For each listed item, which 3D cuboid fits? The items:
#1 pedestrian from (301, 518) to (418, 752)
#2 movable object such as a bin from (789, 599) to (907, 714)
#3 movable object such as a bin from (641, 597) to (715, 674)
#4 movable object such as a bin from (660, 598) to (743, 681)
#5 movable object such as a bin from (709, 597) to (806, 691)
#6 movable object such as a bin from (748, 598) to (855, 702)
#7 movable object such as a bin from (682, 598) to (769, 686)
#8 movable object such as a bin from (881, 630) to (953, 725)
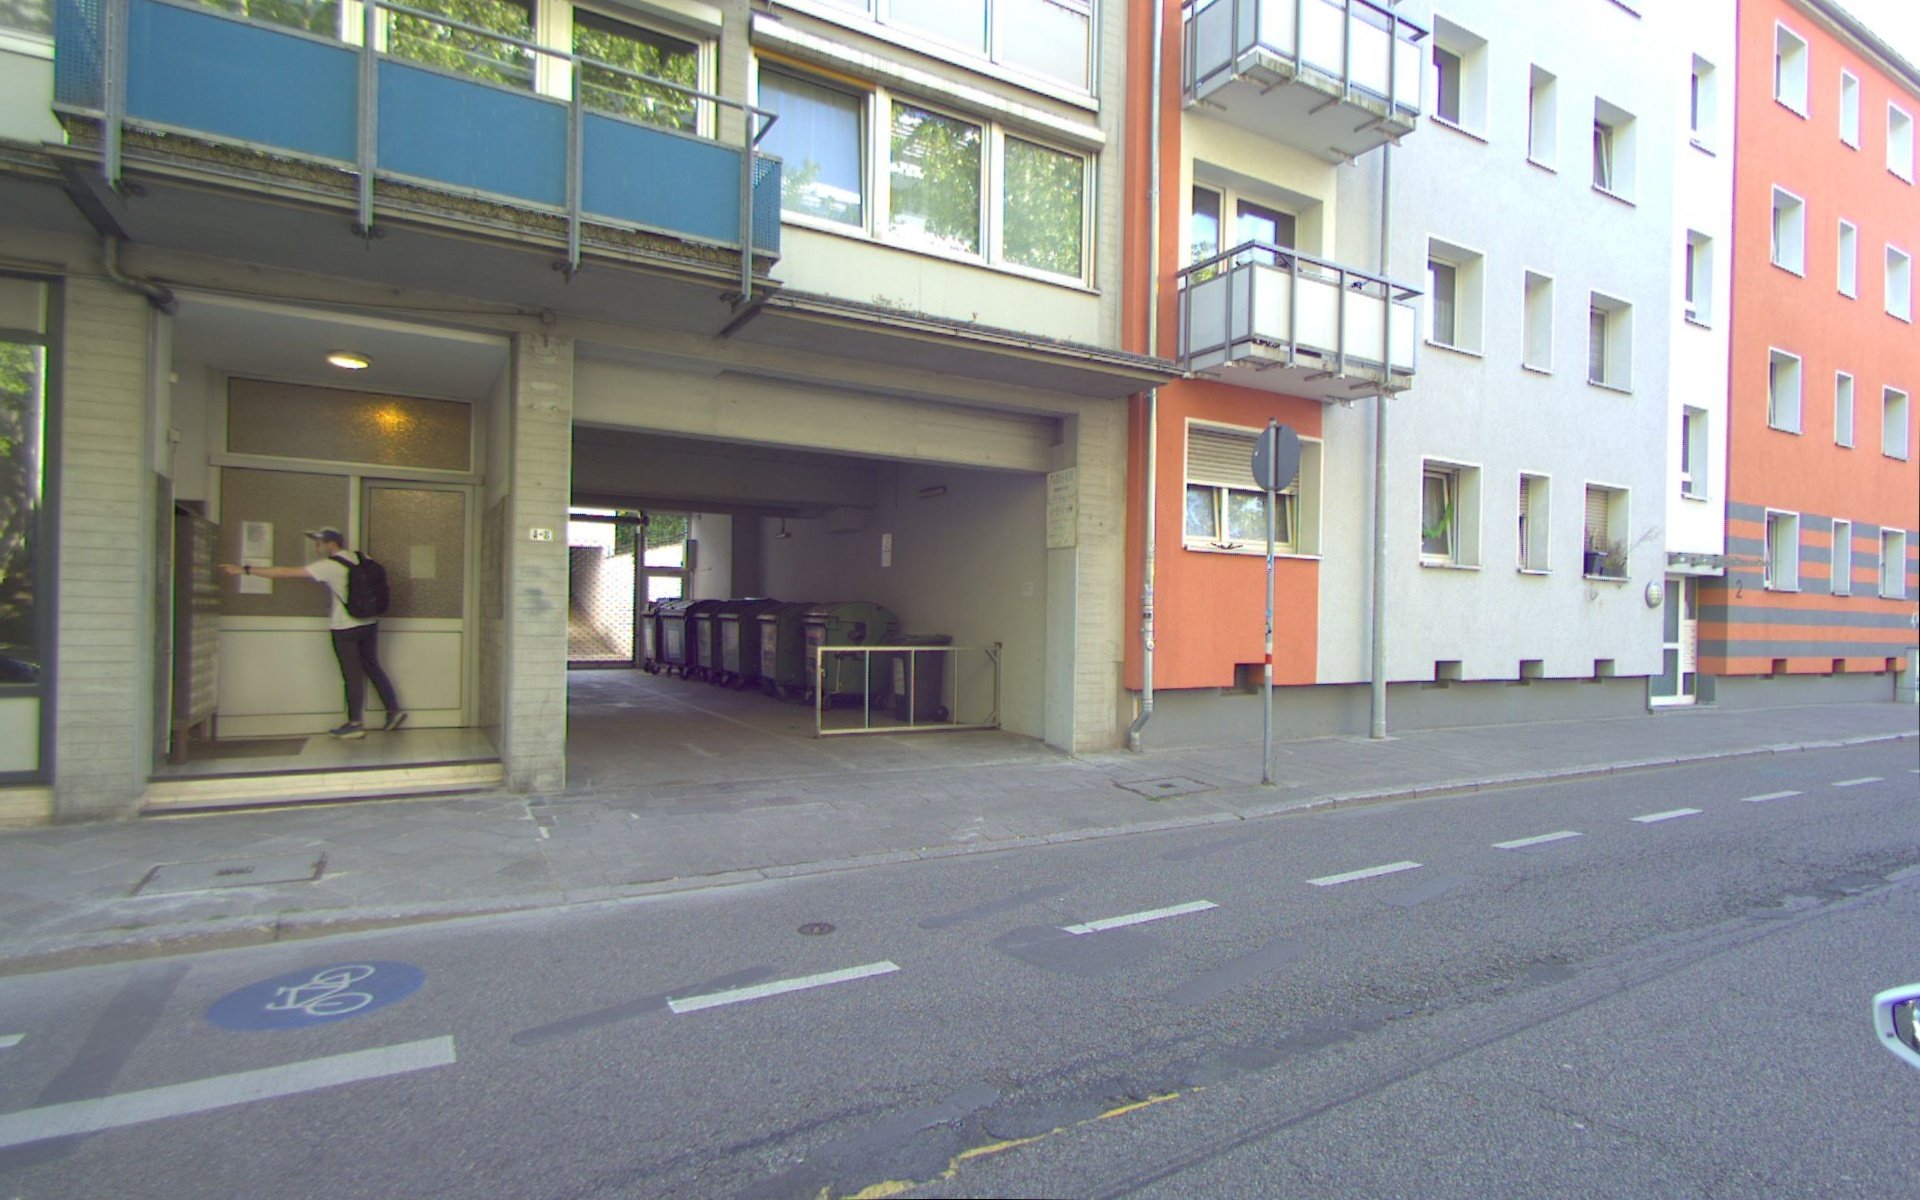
[{"bbox_3d":[-5.110,0.292,8.594,0.777,1.904,0.577,2,0,-28],"label":"pedestrian"},{"bbox_3d":[-1.561,0.745,13.798,1.159,1.467,1.319,2,0,-30],"label":"movable object such as a bin"},{"bbox_3d":[-5.614,0.691,19.978,1.186,1.467,1.027,2,0,-30],"label":"movable object such as a bin"},{"bbox_3d":[-4.838,0.727,18.749,1.186,1.467,1.222,2,0,-30],"label":"movable object such as a bin"},{"bbox_3d":[-3.368,0.704,16.615,1.186,1.467,1.319,2,0,-30],"label":"movable object such as a bin"},{"bbox_3d":[-2.401,0.726,15.131,1.186,1.467,1.319,2,0,-30],"label":"movable object such as a bin"},{"bbox_3d":[-4.139,0.725,17.706,1.186,1.467,1.114,2,0,-30],"label":"movable object such as a bin"},{"bbox_3d":[-0.533,0.945,12.406,0.745,1.116,0.463,2,0,-30],"label":"movable object such as a bin"}]
